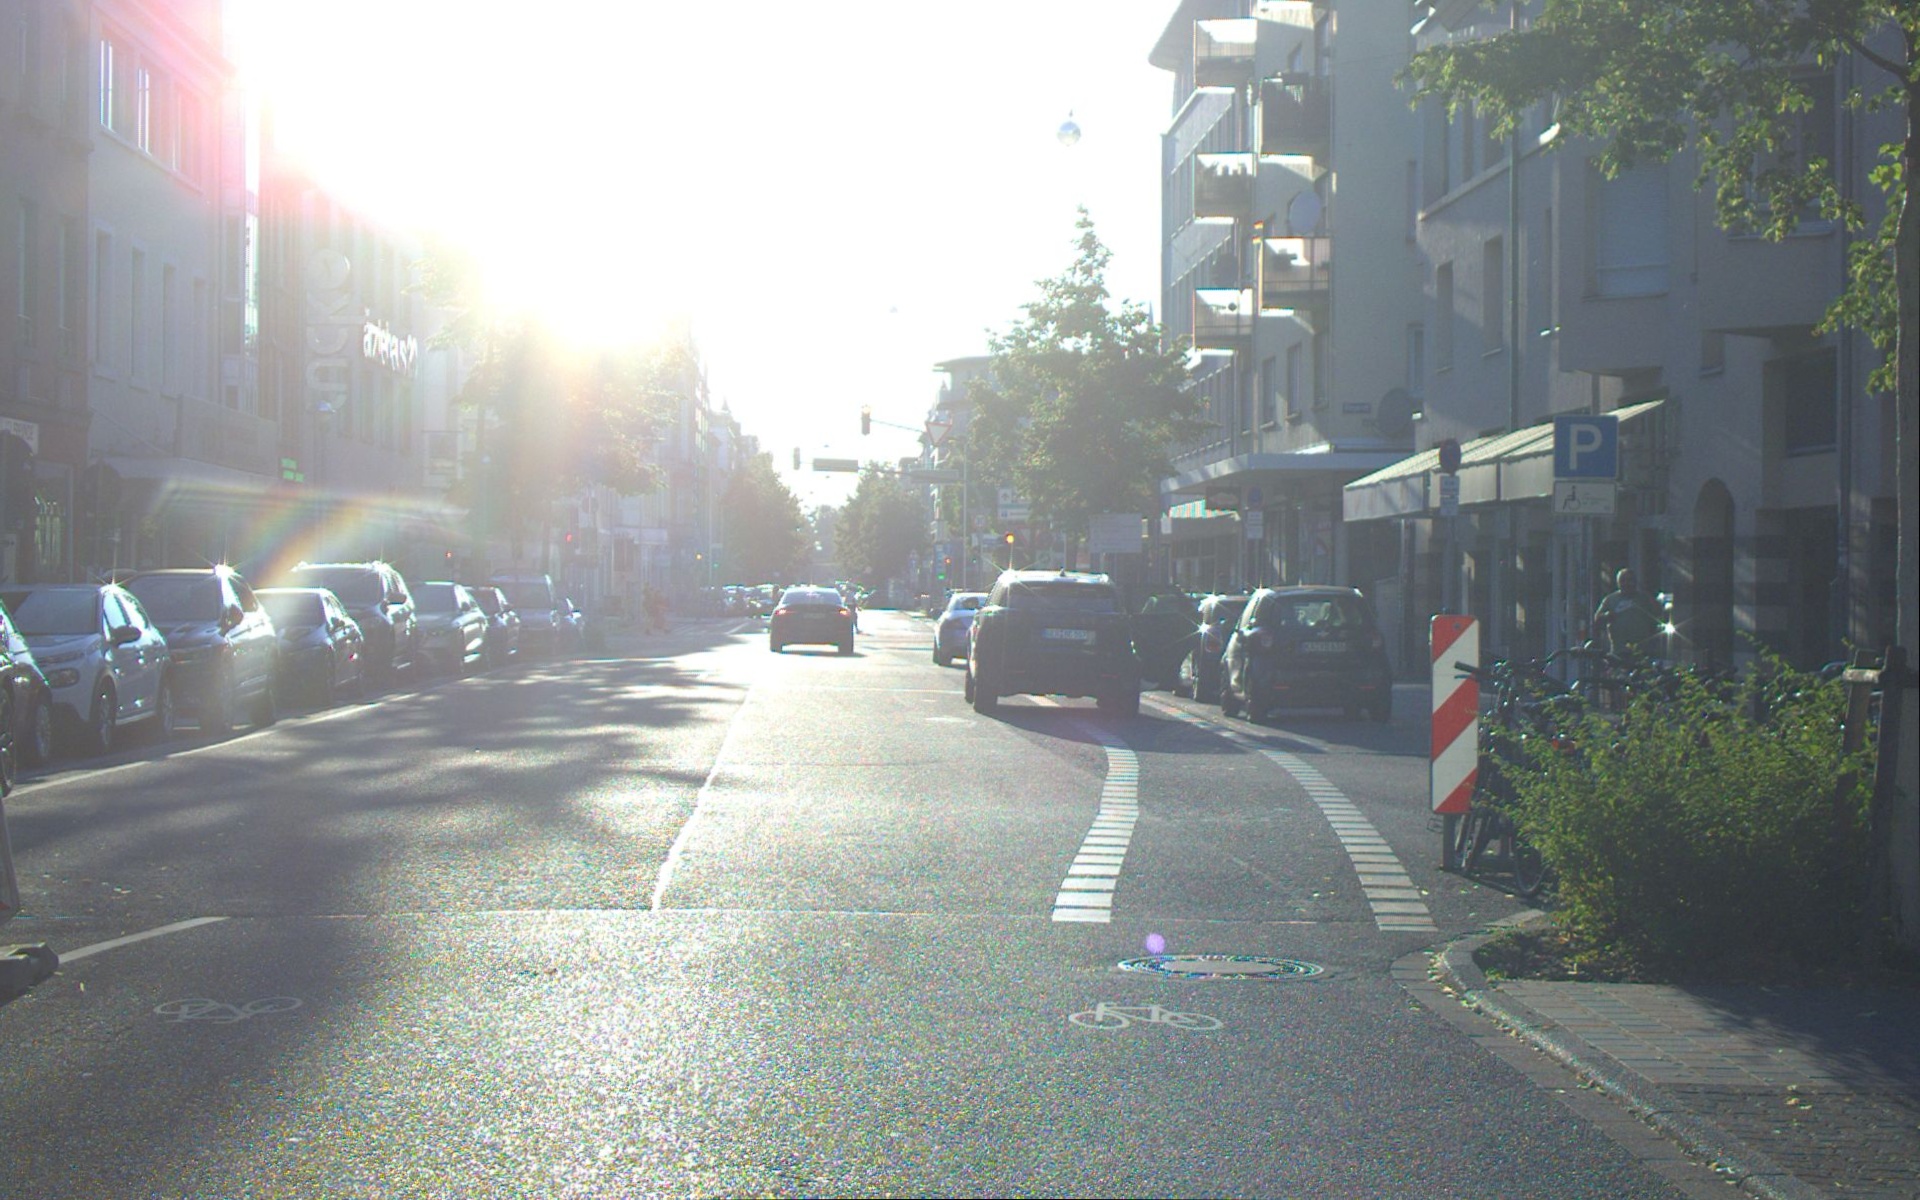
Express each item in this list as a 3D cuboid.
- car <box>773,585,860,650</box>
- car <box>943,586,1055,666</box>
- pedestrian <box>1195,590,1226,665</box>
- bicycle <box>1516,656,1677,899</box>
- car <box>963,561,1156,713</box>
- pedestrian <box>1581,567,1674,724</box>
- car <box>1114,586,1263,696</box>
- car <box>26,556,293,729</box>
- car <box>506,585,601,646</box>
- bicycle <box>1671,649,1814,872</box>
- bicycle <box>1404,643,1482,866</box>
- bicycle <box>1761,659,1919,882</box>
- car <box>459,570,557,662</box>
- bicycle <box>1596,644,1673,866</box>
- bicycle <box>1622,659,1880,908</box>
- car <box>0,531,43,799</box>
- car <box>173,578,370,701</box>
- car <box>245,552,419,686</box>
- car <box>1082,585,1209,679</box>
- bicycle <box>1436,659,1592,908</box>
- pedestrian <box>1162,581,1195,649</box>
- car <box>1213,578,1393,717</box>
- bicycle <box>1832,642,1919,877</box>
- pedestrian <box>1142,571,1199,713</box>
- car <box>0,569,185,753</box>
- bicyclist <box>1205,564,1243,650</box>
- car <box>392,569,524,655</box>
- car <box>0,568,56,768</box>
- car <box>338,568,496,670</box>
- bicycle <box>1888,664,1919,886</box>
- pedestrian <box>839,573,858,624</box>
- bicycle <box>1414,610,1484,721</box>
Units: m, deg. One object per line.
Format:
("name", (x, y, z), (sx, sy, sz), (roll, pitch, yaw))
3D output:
("car", (-3.241, 0.379, 78.308), (1.883, 1.410, 4.325), (1, 0, -1))
("car", (0.714, 0.482, 65.940), (1.922, 1.410, 4.548), (2, 0, -1))
("pedestrian", (5.808, 0.630, 79.592), (0.688, 1.716, 0.716), (-1, 0, 4))
("bicycle", (3.078, 0.835, 16.722), (0.382, 1.096, 1.523), (0, 0, -5))
("car", (1.126, 0.414, 41.178), (1.995, 1.649, 4.674), (2, 0, -1))
("pedestrian", (7.147, 0.484, 36.829), (0.810, 1.641, 0.606), (-2, -1, -2))
("car", (3.078, 0.534, 46.957), (1.633, 1.419, 3.758), (0, 0, -2))
("car", (-8.019, 0.385, 34.777), (1.774, 1.627, 4.238), (1, 0, -1))
("car", (-9.164, 0.332, 77.679), (1.833, 1.323, 4.124), (1, 0, -3))
("bicycle", (4.105, 0.820, 18.109), (0.382, 1.096, 1.565), (0, 0, -1))
("bicycle", (2.584, 0.803, 18.450), (0.362, 1.137, 1.565), (0, 0, 6))
("bicycle", (4.641, 0.871, 18.062), (0.381, 1.096, 1.523), (1, 0, -5))
("car", (-9.391, 0.326, 71.685), (1.832, 1.848, 4.124), (0, 0, -5))
("bicycle", (3.592, 0.803, 18.345), (0.371, 1.104, 1.522), (0, 0, 10))
("bicycle", (3.749, 0.847, 16.402), (0.381, 1.096, 1.523), (0, 0, -23))
("car", (-7.055, 0.432, 21.370), (1.904, 1.722, 4.703), (-1, 0, -6))
("car", (-8.618, 0.461, 43.340), (1.713, 1.435, 4.310), (-1, 0, -2))
("car", (-9.049, 0.245, 49.922), (1.827, 1.804, 5.349), (-1, 0, -4))
("car", (2.919, 0.490, 54.771), (1.703, 1.431, 3.932), (0, 0, -1))
("bicycle", (2.627, 0.848, 16.412), (0.382, 1.096, 1.523), (0, 0, -5))
("pedestrian", (5.068, 0.342, 79.756), (0.688, 1.553, 0.863), (0, 0, -1))
("car", (3.970, 0.532, 40.134), (1.632, 1.548, 2.695), (-1, 0, -4))
("bicycle", (5.062, 0.826, 18.144), (0.381, 1.185, 1.523), (1, 0, -5))
("pedestrian", (2.494, 0.491, 40.780), (0.441, 1.659, 0.565), (-1, 0, -27))
("car", (-8.110, 0.485, 30.195), (1.774, 1.510, 3.950), (0, 0, -1))
("bicyclist", (5.300, 0.138, 69.042), (0.650, 1.696, 1.095), (0, 0, -2))
("car", (-9.094, 0.210, 62.565), (1.827, 1.434, 4.553), (-2, 0, -2))
("car", (-8.113, 0.502, 25.809), (1.774, 1.510, 3.484), (1, 0, -1))
("car", (-8.871, 0.279, 56.525), (1.827, 1.551, 5.136), (-2, 0, -1))
("bicycle", (5.035, 0.880, 16.795), (0.381, 1.096, 1.523), (0, 0, -9))
("pedestrian", (-3.805, -0.056, 117.519), (0.494, 1.709, 0.462), (0, 1, -21))
("bicycle", (5.619, 0.739, 39.569), (0.397, 1.230, 1.826), (-1, 0, -4))
